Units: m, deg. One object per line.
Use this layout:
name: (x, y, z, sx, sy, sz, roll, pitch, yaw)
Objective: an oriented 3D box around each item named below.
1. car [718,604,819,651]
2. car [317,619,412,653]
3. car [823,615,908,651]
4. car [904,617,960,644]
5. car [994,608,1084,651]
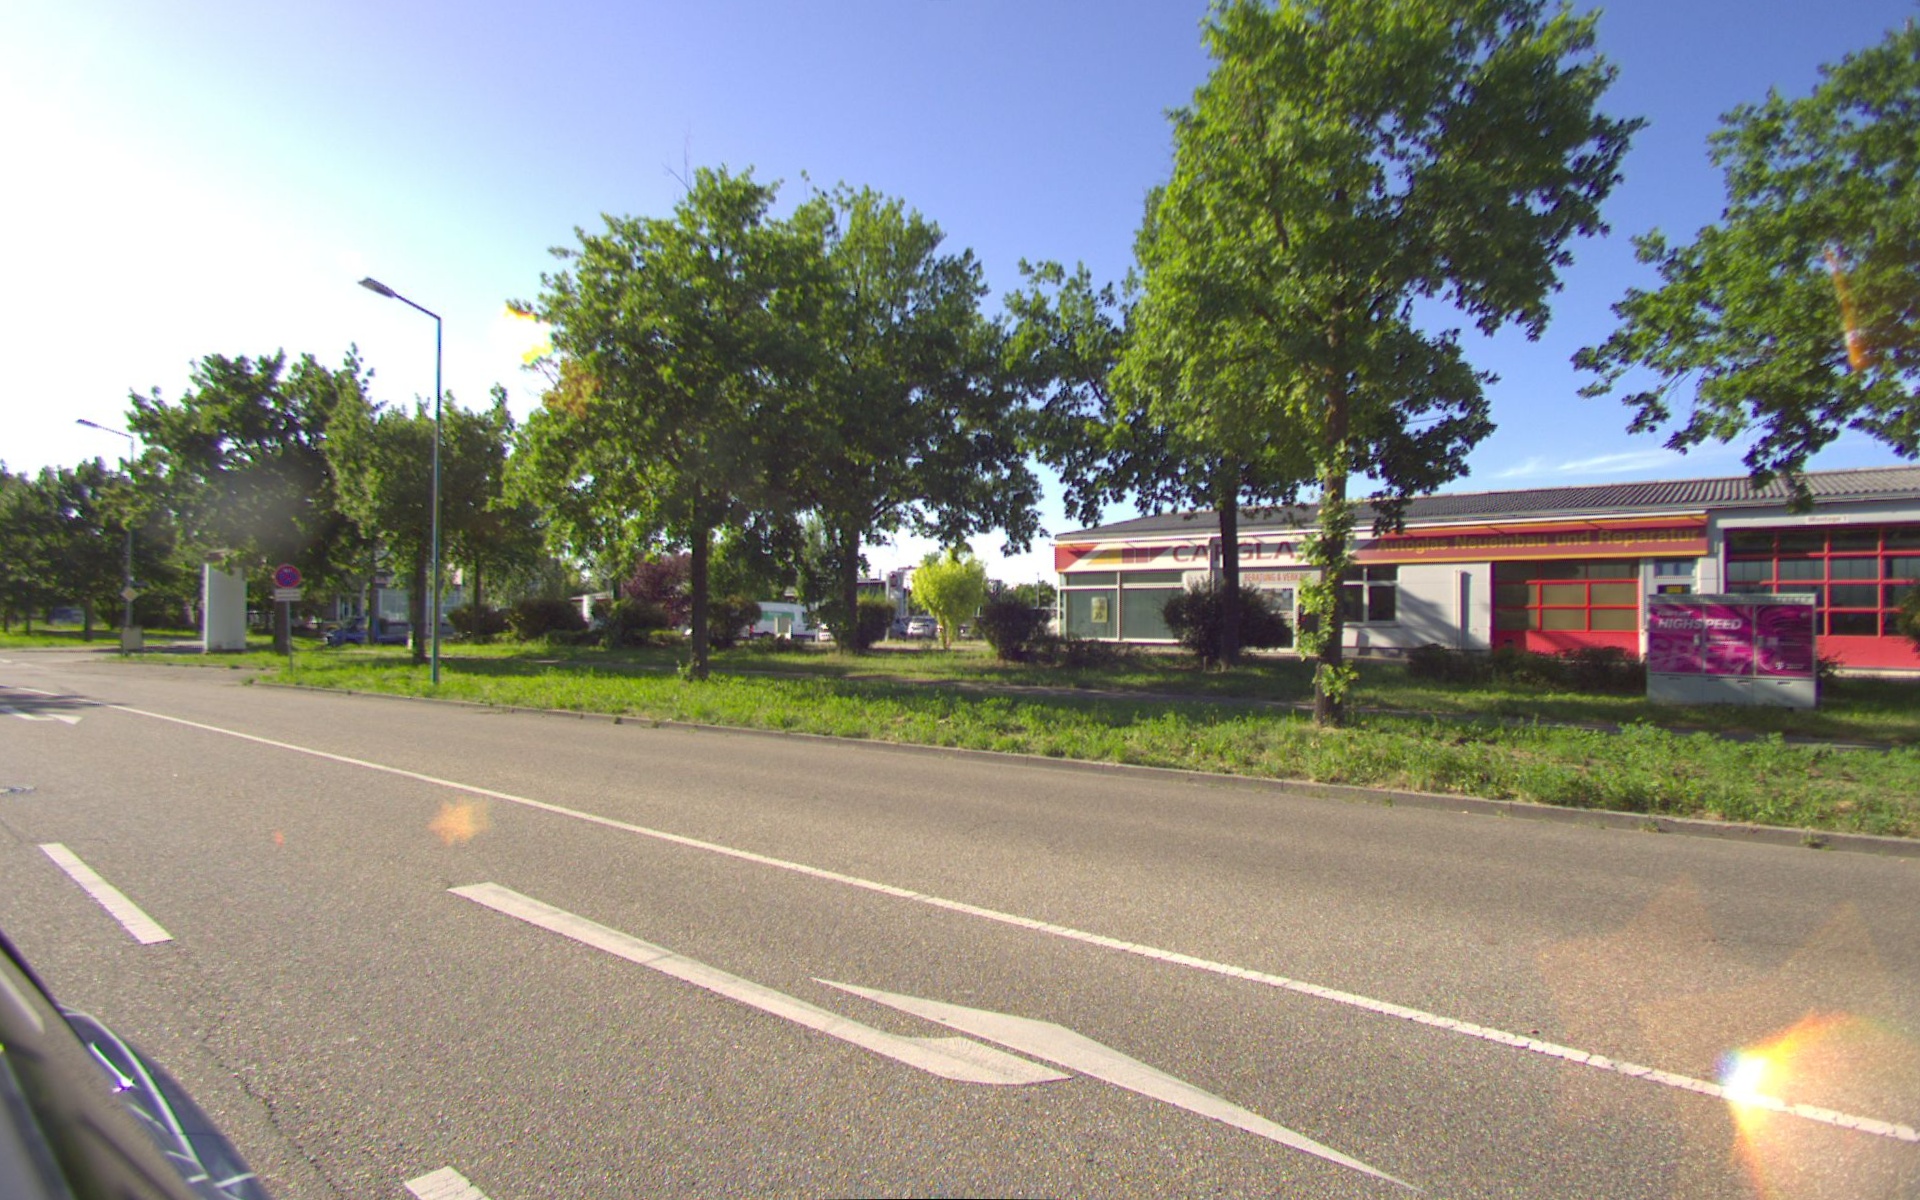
car: (-11.455, 1.594, 60.997, 2.406, 2.574, 5.952, -1, 0, 36)
car: (-35.973, 2.151, 61.232, 1.999, 1.847, 4.578, -1, 0, 41)
car: (-5.148, 1.763, 55.786, 1.989, 1.795, 4.583, -1, 0, 40)
car: (-1.874, 2.046, 68.620, 1.761, 1.684, 3.811, -1, 0, 40)
car: (3.210, 1.152, 40.601, 1.734, 1.583, 3.769, -3, -1, 40)
